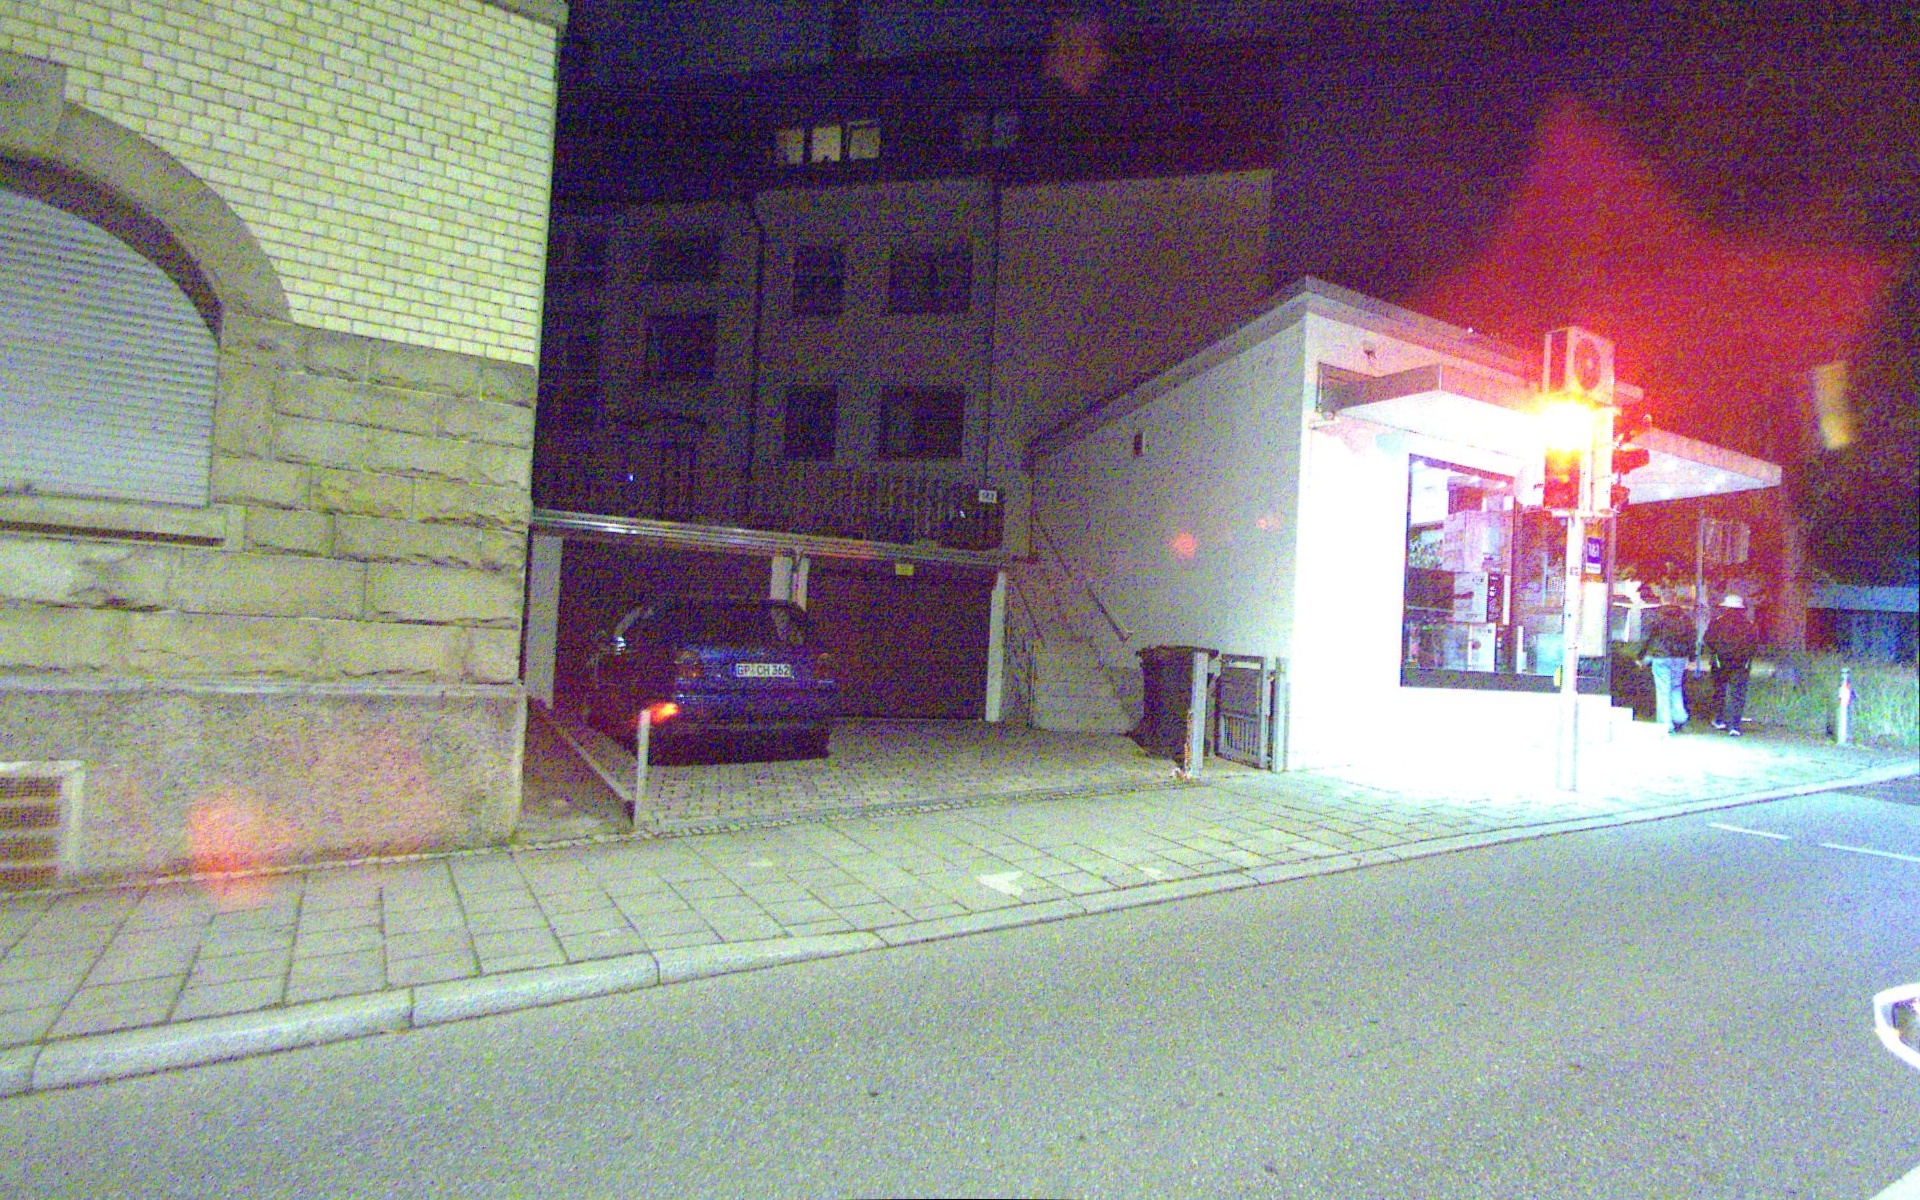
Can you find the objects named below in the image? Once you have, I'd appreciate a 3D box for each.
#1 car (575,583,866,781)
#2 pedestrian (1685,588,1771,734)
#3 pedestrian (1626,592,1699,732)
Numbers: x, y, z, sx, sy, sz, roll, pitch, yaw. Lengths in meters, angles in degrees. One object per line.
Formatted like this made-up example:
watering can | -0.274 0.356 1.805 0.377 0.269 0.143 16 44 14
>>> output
car | -2.448 0.614 9.574 1.700 1.460 3.631 2 0 -30
pedestrian | 9.898 0.768 12.954 0.729 1.801 0.567 2 2 -30
pedestrian | 9.104 0.783 13.015 0.537 1.754 0.567 2 0 -30
